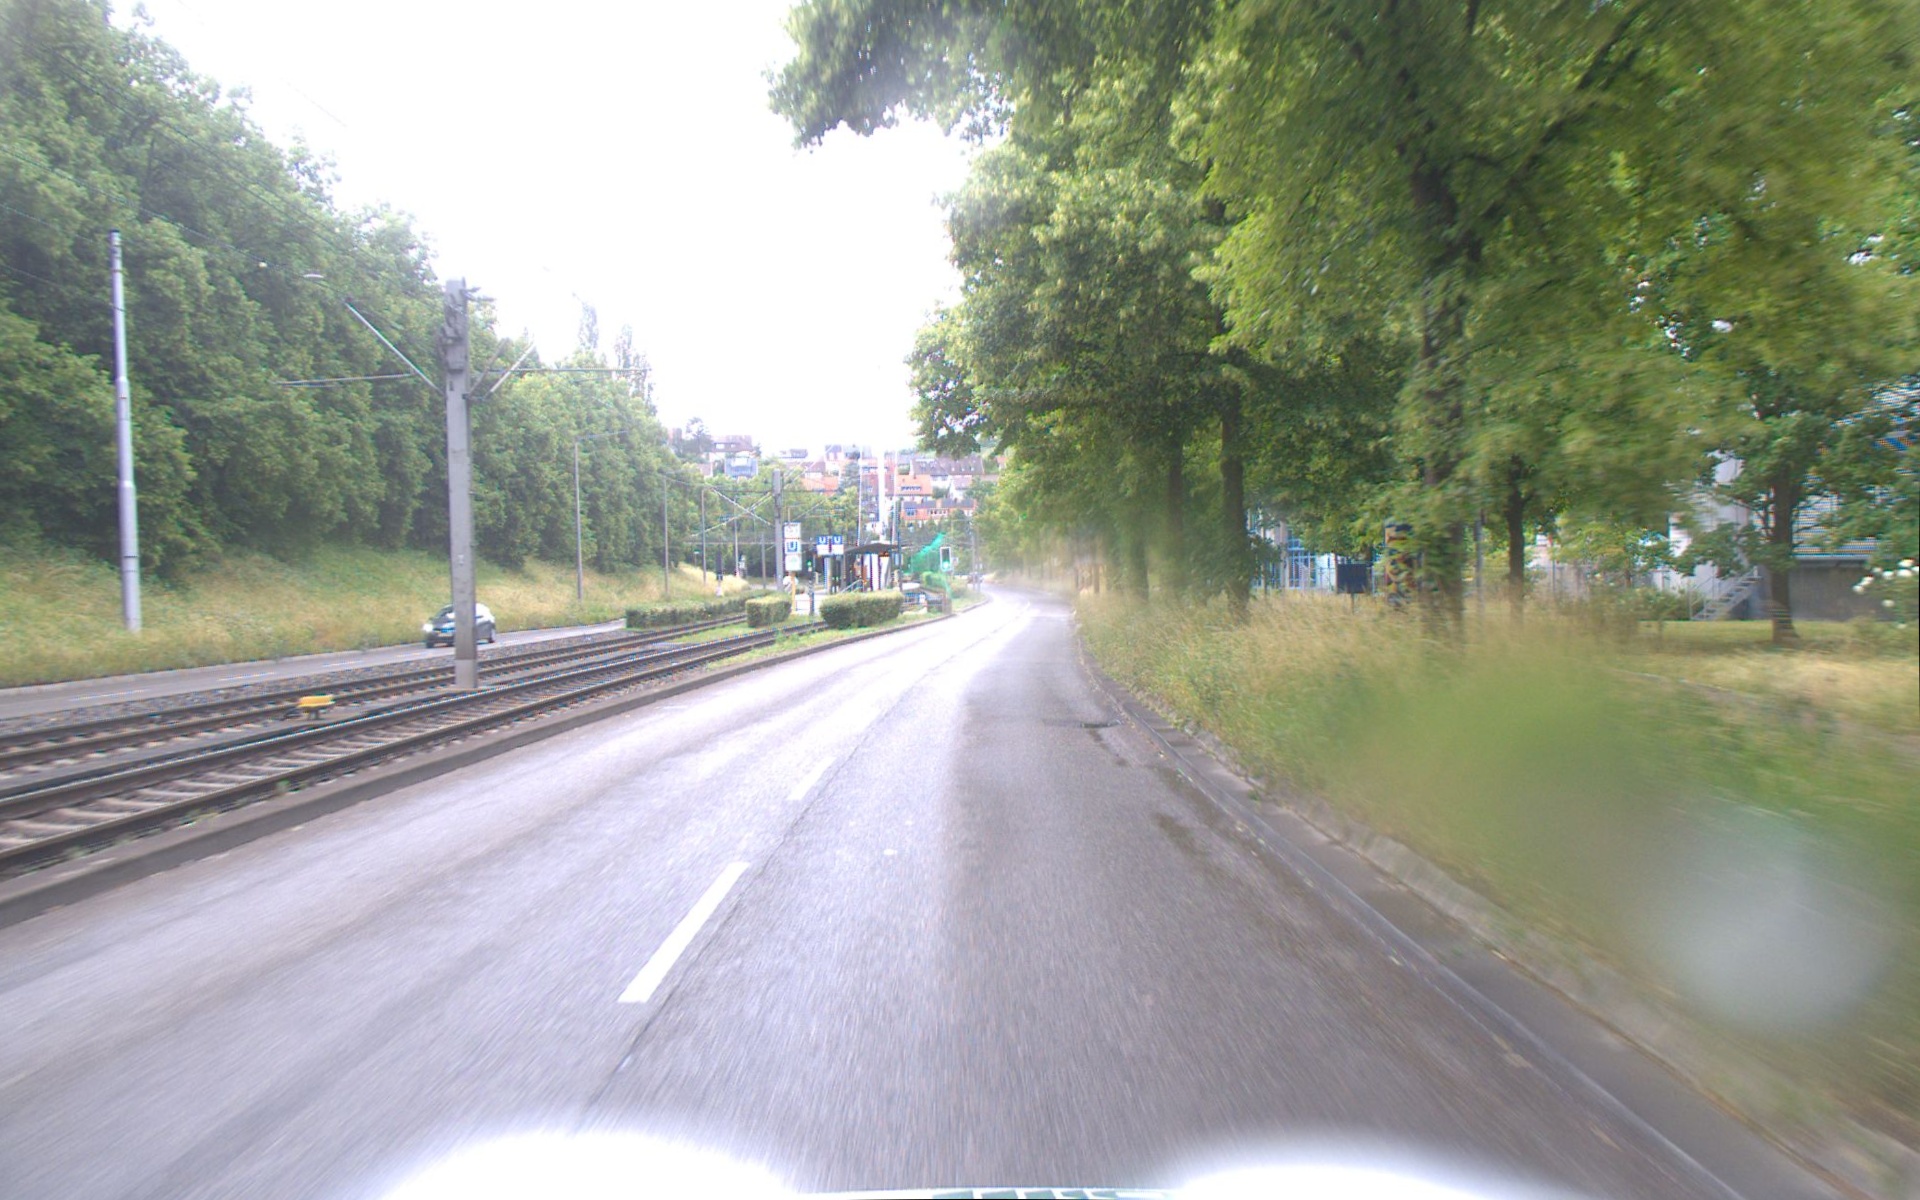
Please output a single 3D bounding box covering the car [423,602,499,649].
[{"bbox_3d":[-18.190,0.894,60.452,1.749,1.579,3.958,-3,0,-4],"label":"car"}]
